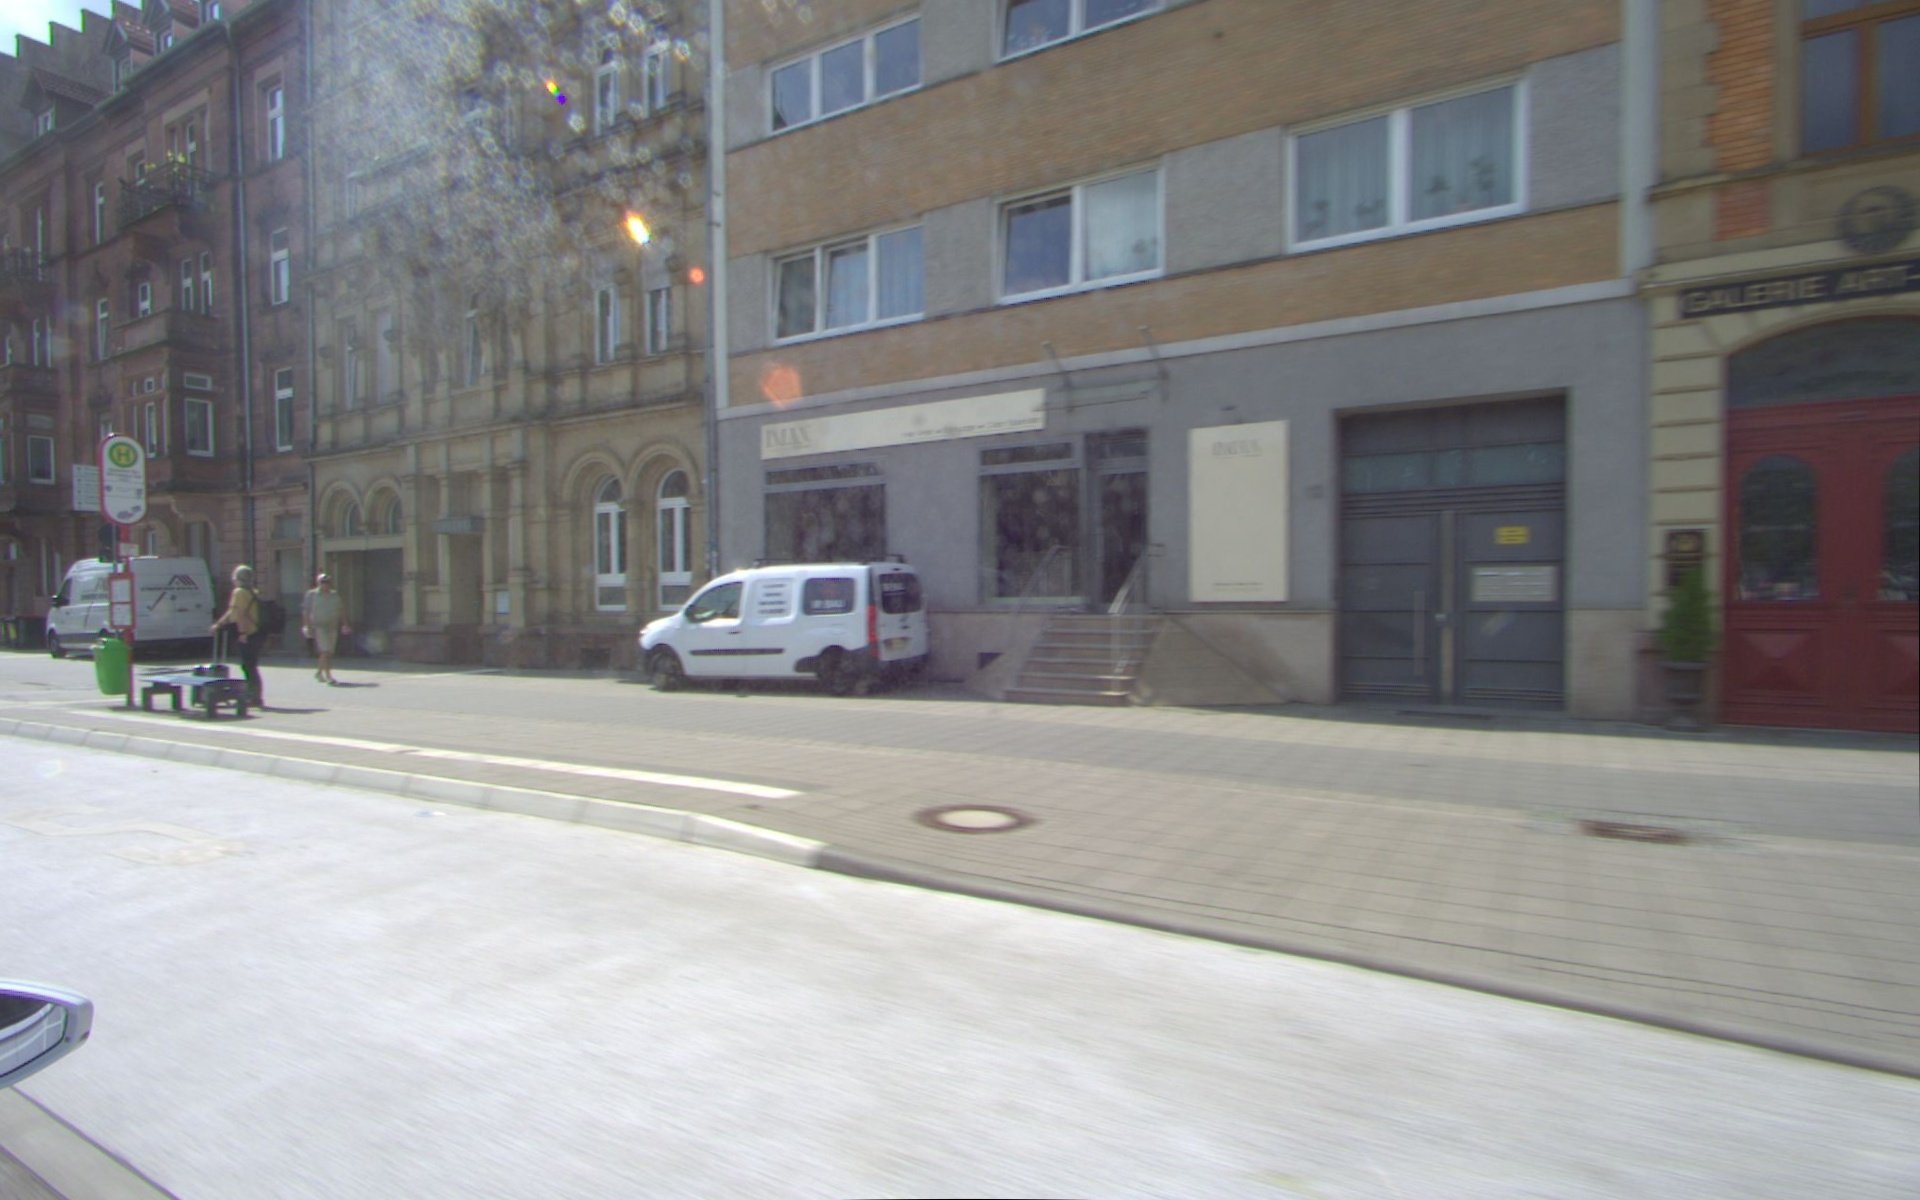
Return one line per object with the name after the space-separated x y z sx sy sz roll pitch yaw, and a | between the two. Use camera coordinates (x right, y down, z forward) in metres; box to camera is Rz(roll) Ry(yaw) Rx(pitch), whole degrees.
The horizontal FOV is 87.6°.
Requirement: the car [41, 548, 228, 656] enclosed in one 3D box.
-21.593 0.050 26.115 5.802 2.559 1.990 0 1 32 | car

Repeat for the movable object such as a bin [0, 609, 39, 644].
-31.193 0.863 33.168 0.765 1.122 0.784 0 1 29 | movable object such as a bin

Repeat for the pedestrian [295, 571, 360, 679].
-11.096 0.427 17.574 0.683 1.861 0.662 0 1 25 | pedestrian

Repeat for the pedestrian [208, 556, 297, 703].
-9.519 0.390 13.490 0.681 1.929 0.664 0 1 13 | pedestrian

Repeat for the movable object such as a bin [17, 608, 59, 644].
-29.790 0.823 32.345 0.765 1.122 0.784 0 1 29 | movable object such as a bin

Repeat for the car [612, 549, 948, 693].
-2.722 0.304 14.998 4.676 1.887 1.993 -1 0 26 | car

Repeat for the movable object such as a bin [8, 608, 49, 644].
-30.433 0.841 32.722 0.765 1.122 0.784 0 1 29 | movable object such as a bin
